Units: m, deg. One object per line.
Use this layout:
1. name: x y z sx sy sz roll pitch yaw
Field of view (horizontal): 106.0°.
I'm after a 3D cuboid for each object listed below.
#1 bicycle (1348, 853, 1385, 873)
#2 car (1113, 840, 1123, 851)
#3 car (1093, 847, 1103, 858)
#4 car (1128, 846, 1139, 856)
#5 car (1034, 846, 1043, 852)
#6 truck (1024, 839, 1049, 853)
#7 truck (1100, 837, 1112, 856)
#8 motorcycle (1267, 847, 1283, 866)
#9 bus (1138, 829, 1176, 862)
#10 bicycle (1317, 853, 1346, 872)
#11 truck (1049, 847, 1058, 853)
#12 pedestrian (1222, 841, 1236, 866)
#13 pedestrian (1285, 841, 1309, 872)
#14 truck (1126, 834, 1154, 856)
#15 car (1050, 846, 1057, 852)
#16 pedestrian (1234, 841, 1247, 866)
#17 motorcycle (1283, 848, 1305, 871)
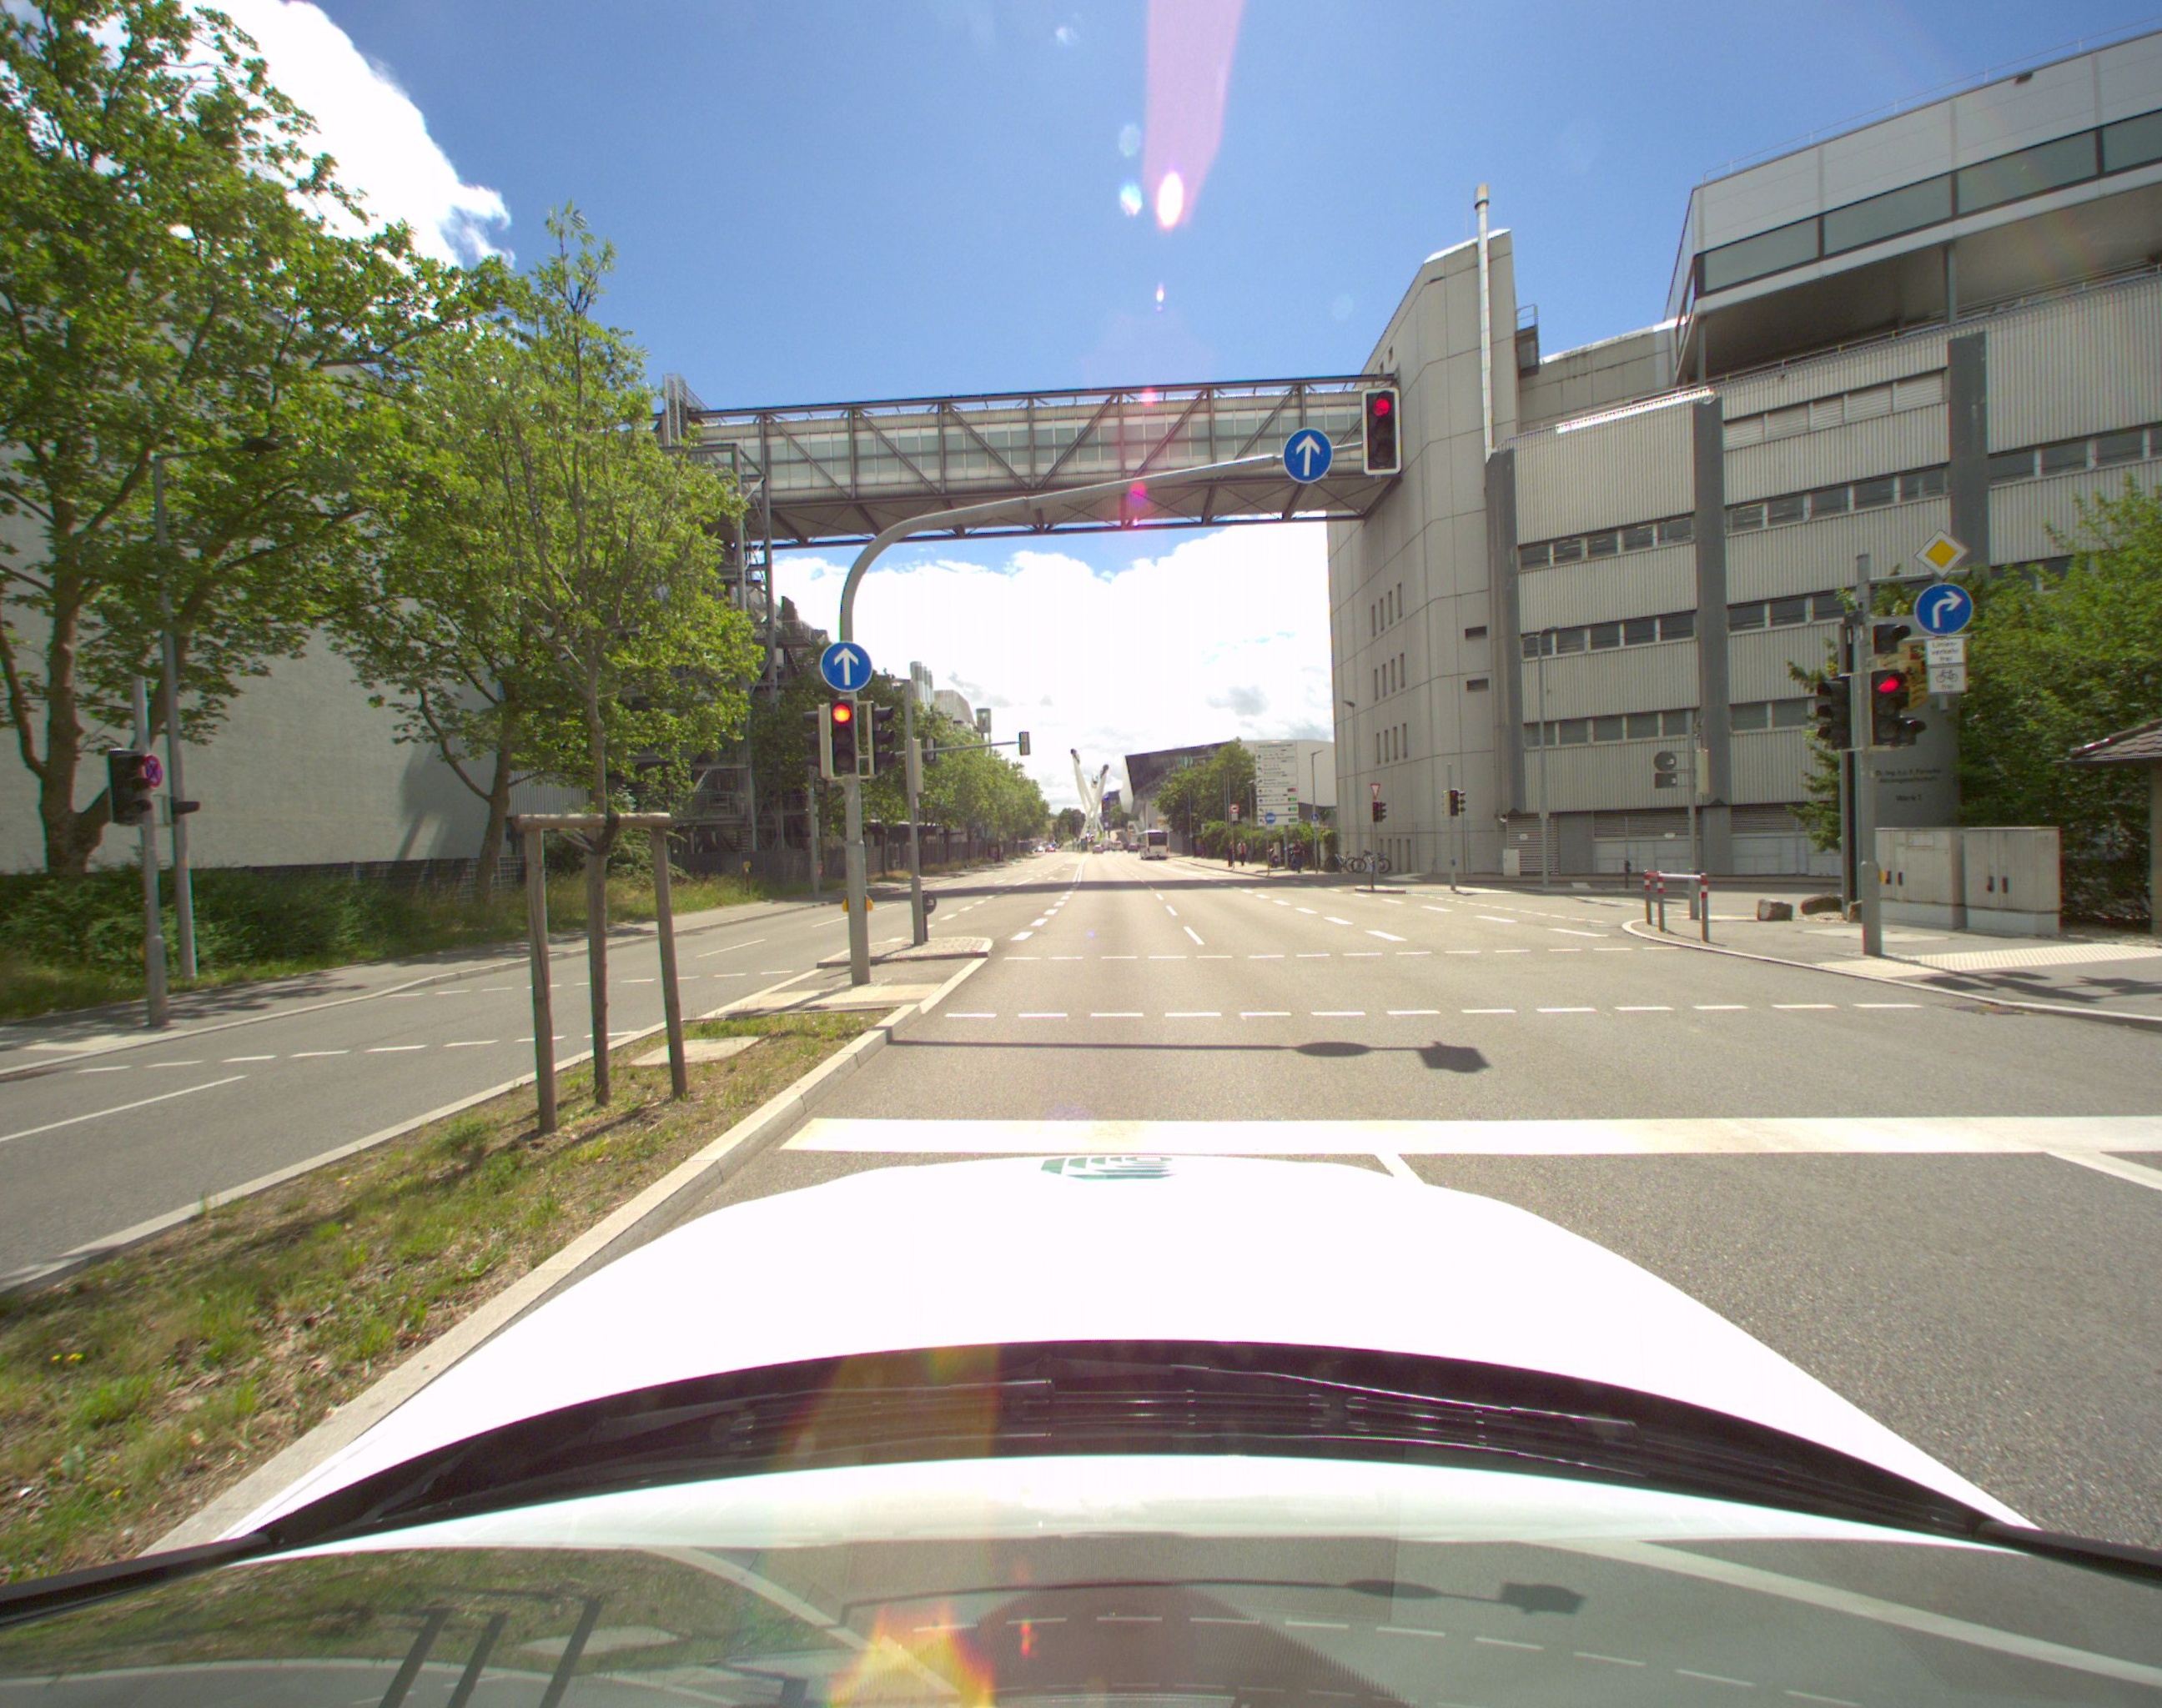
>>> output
1. bicycle: 13.483 0.412 38.512 0.399 0.937 1.913 -1 0 -24
2. car: 7.485 -1.772 165.511 1.985 2.014 4.003 -1 -1 3
3. car: 2.993 -0.288 141.746 1.732 1.741 3.693 -1 0 2
4. car: 9.379 -0.577 146.245 1.732 1.741 3.693 -1 0 2
5. car: -10.976 -1.339 210.604 1.812 1.537 3.680 -3 0 2
6. truck: -12.788 -2.320 235.287 7.109 3.894 2.459 0 -2 -35
7. truck: 5.299 -1.536 172.269 2.383 3.897 6.180 -1 0 2
8. motorcycle: 12.529 0.145 52.616 0.572 1.203 2.025 -3 1 2
9. bus: 8.643 -0.950 94.430 3.441 3.543 10.606 -1 0 1
10. bicycle: 12.540 0.411 40.824 0.398 0.937 1.917 -1 0 -17
11. truck: -6.397 -0.927 188.587 1.583 1.537 3.665 -1 0 -10
12. pedestrian: 10.470 -0.025 57.686 0.817 1.707 0.881 -1 0 1
13. pedestrian: 11.196 0.126 42.210 0.839 1.624 0.962 -1 0 43
14. truck: 12.513 -1.893 171.639 3.424 4.391 9.466 -1 0 19
15. car: -7.682 -1.349 227.651 1.812 1.537 3.680 -3 0 2
16. pedestrian: 11.328 -0.063 57.786 0.817 1.741 0.637 -1 0 1
17. motorcycle: 11.707 0.279 44.769 0.703 1.203 2.025 -3 1 2
